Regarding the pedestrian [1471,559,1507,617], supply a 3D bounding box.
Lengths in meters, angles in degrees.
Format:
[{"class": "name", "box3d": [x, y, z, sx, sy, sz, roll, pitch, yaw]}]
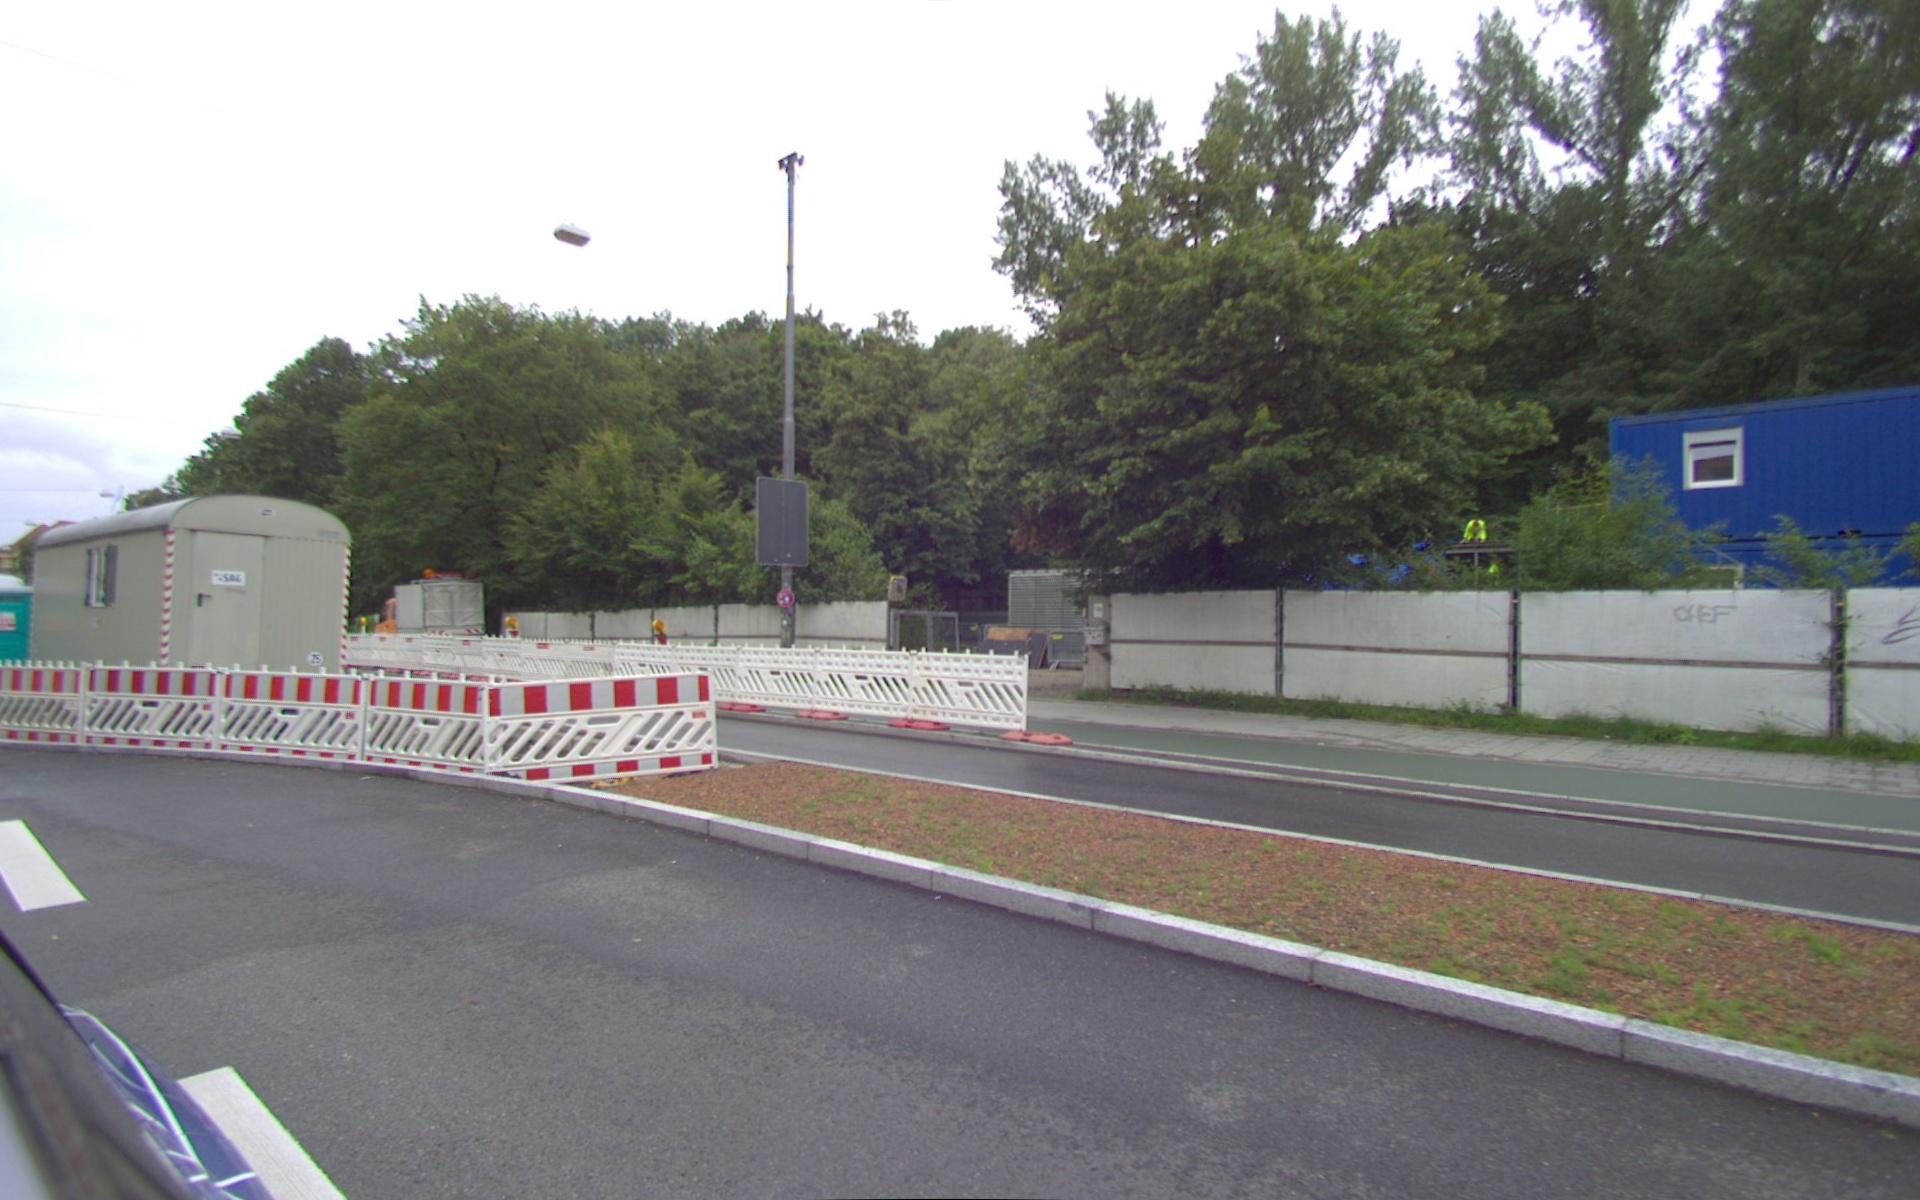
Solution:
[{"class": "pedestrian", "box3d": [16.550, -0.353, 31.657, 0.832, 1.788, 0.786, -1, -2, 38]}]

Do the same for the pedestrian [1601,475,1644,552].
[{"class": "pedestrian", "box3d": [16.358, -2.121, 24.996, 0.795, 1.788, 0.822, -1, -2, 39]}]
